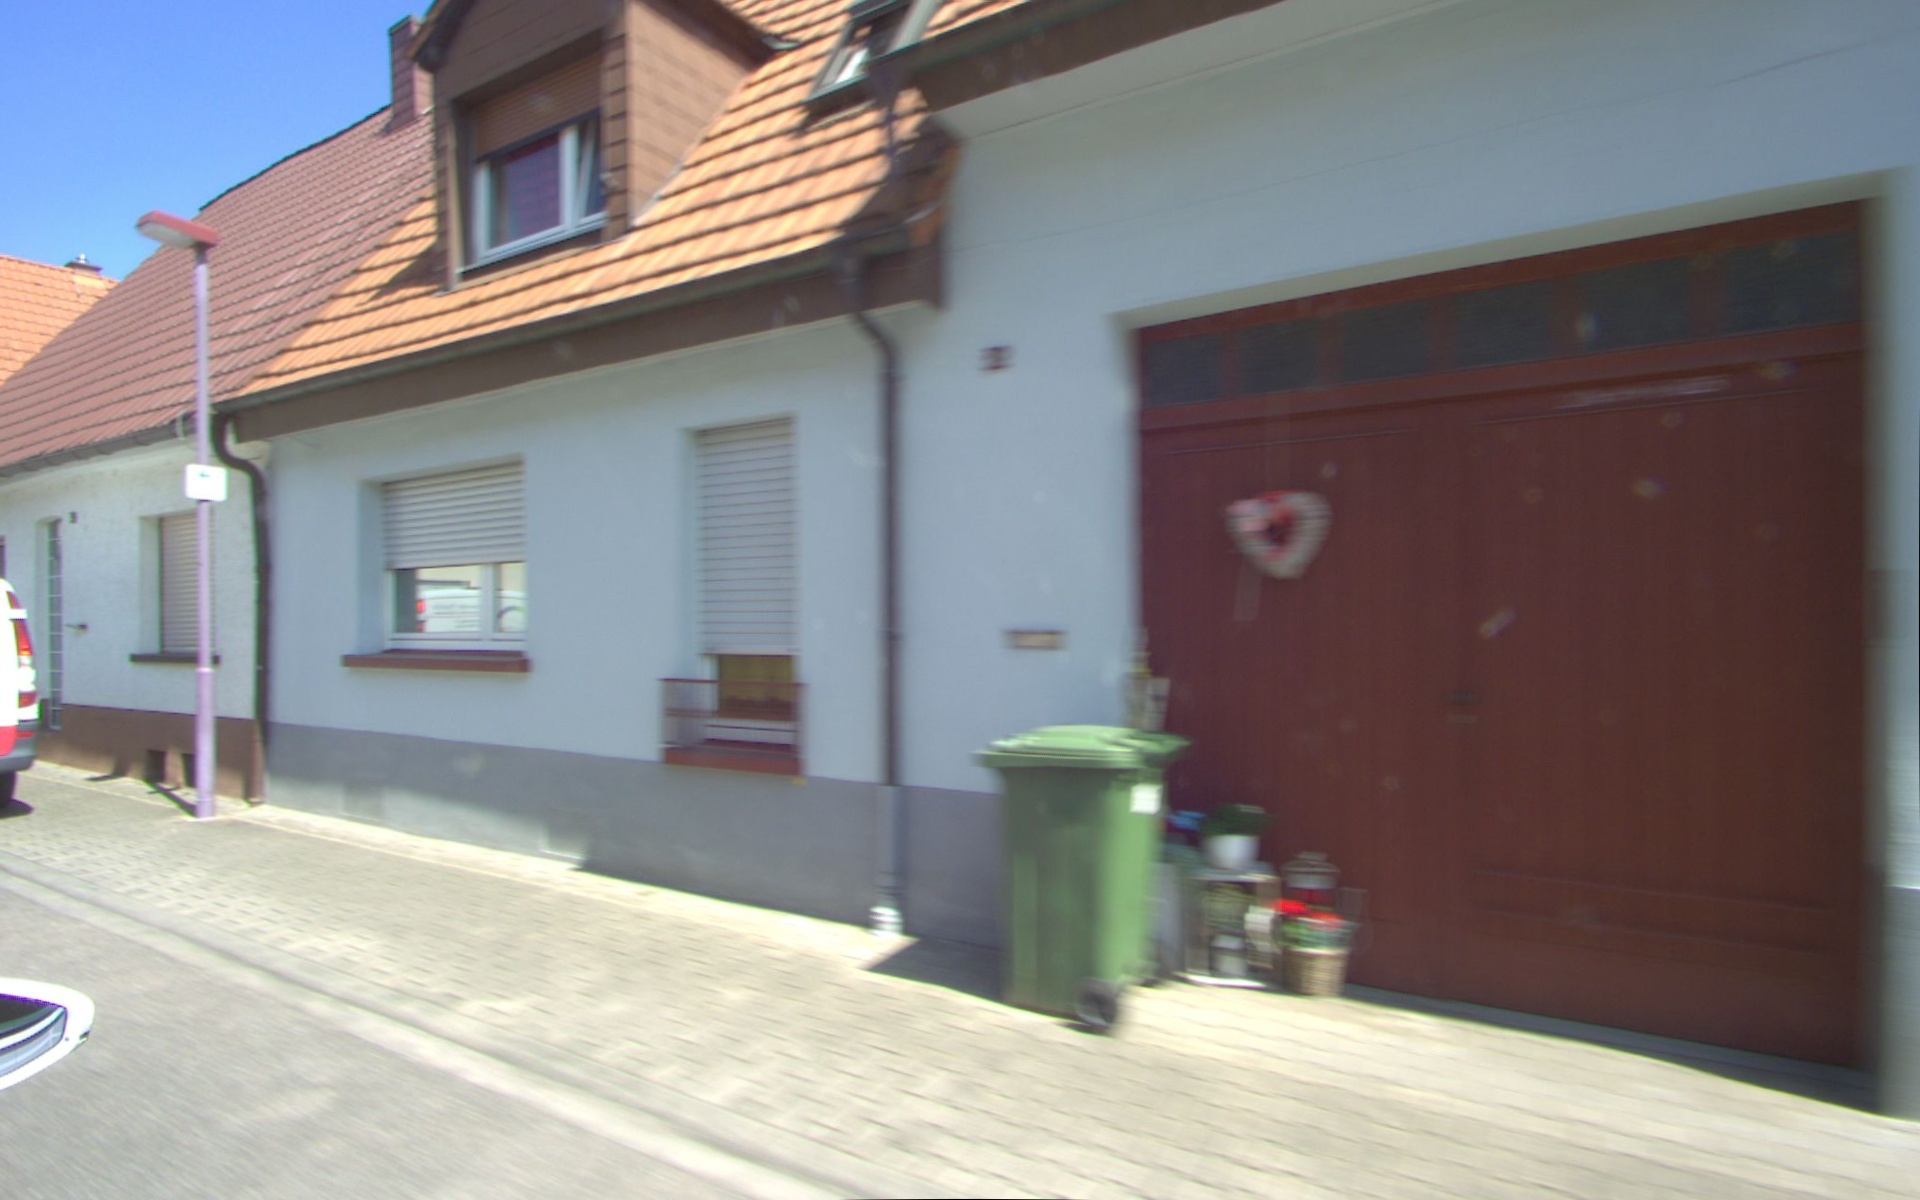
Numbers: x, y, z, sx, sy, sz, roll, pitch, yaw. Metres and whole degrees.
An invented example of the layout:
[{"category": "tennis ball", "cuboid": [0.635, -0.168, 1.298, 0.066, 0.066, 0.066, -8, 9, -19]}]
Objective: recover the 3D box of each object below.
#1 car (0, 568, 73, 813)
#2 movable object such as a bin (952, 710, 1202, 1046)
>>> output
[{"category": "car", "cuboid": [-9.795, 0.706, 8.489, 5.189, 1.862, 2.010, -1, -2, 32]}, {"category": "movable object such as a bin", "cuboid": [0.475, 1.023, 3.982, 0.801, 1.085, 0.657, 0, 0, 30]}]
